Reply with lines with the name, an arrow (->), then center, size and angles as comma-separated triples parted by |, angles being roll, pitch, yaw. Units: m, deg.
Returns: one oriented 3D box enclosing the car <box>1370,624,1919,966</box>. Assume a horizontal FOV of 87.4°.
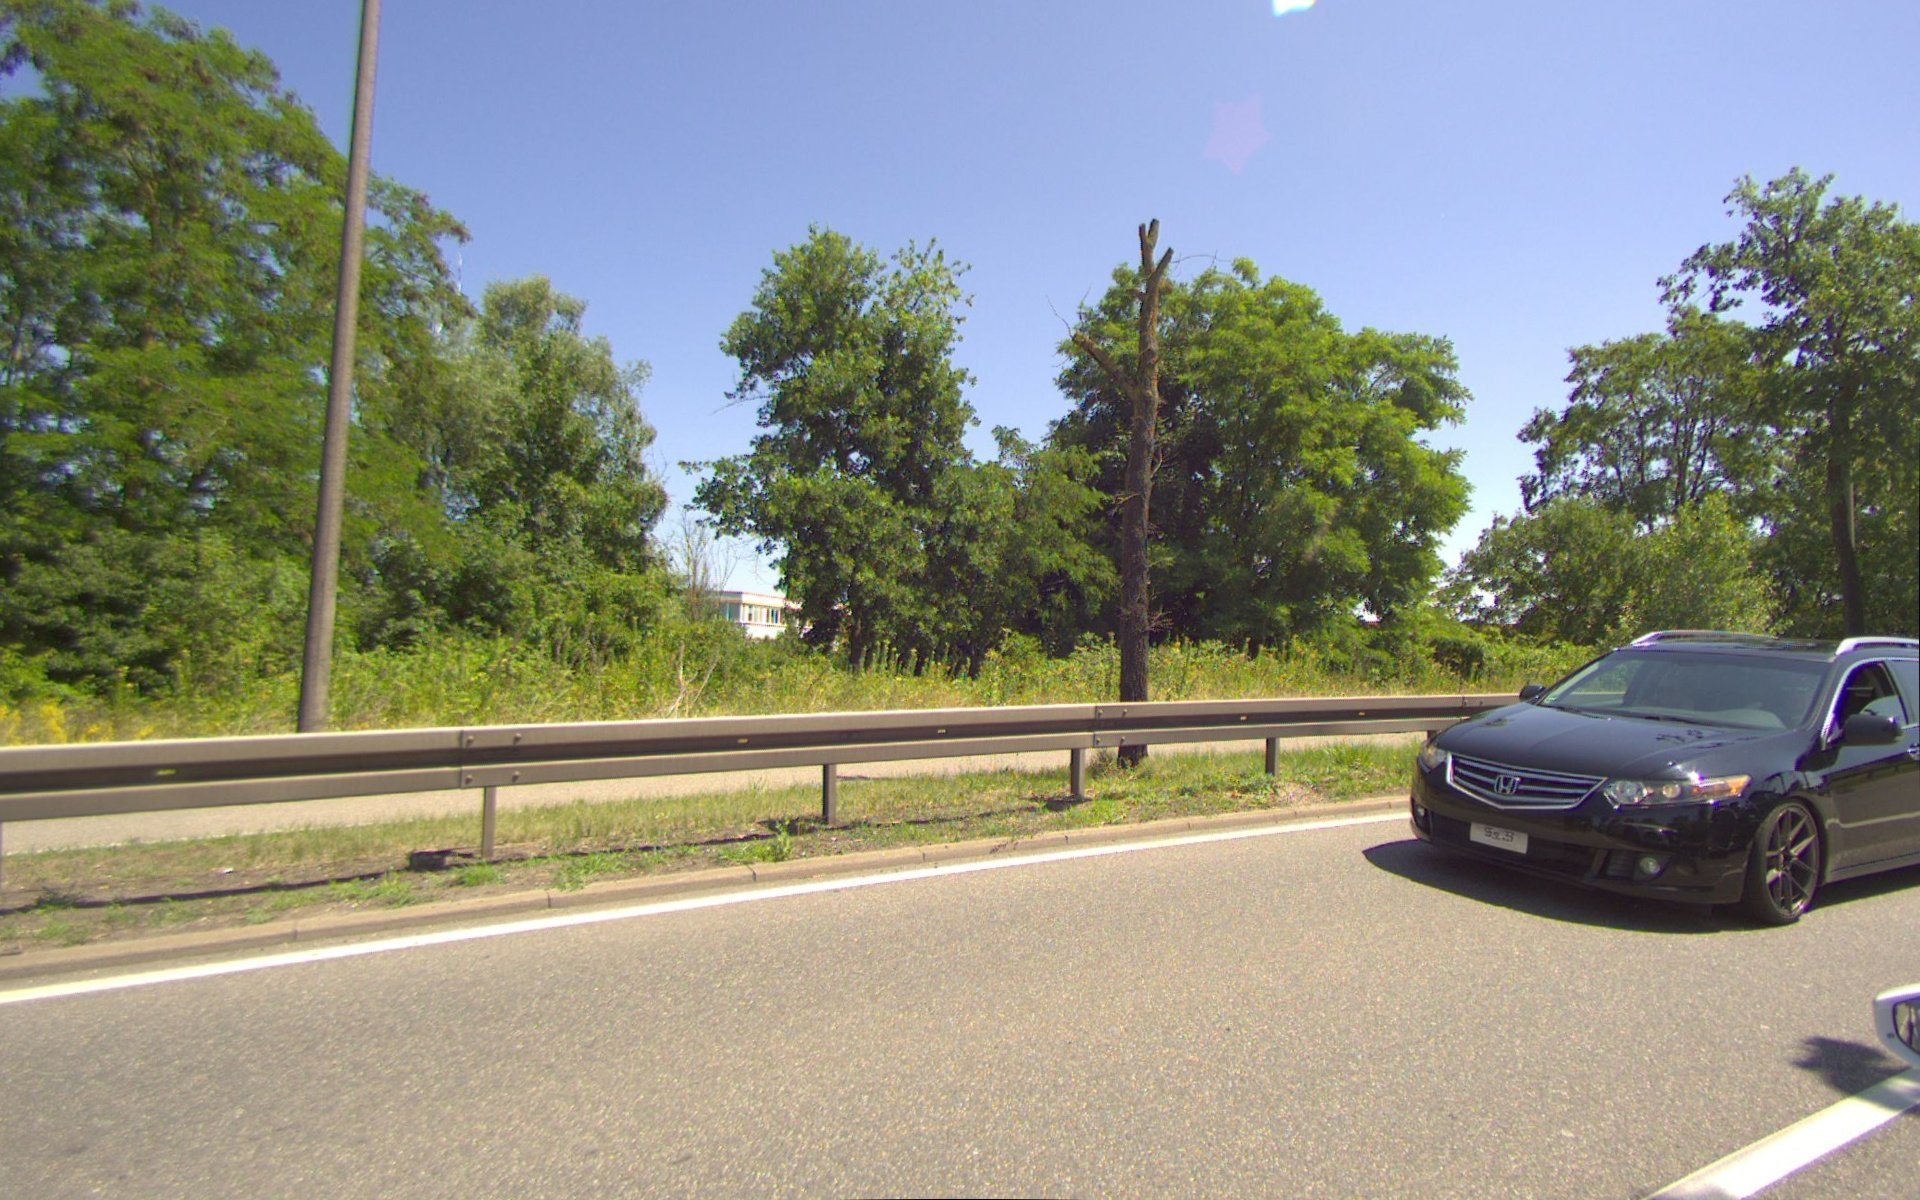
car -> 4.869, 0.895, 6.265 | 4.615, 1.399, 1.867 | 1, 0, -30
